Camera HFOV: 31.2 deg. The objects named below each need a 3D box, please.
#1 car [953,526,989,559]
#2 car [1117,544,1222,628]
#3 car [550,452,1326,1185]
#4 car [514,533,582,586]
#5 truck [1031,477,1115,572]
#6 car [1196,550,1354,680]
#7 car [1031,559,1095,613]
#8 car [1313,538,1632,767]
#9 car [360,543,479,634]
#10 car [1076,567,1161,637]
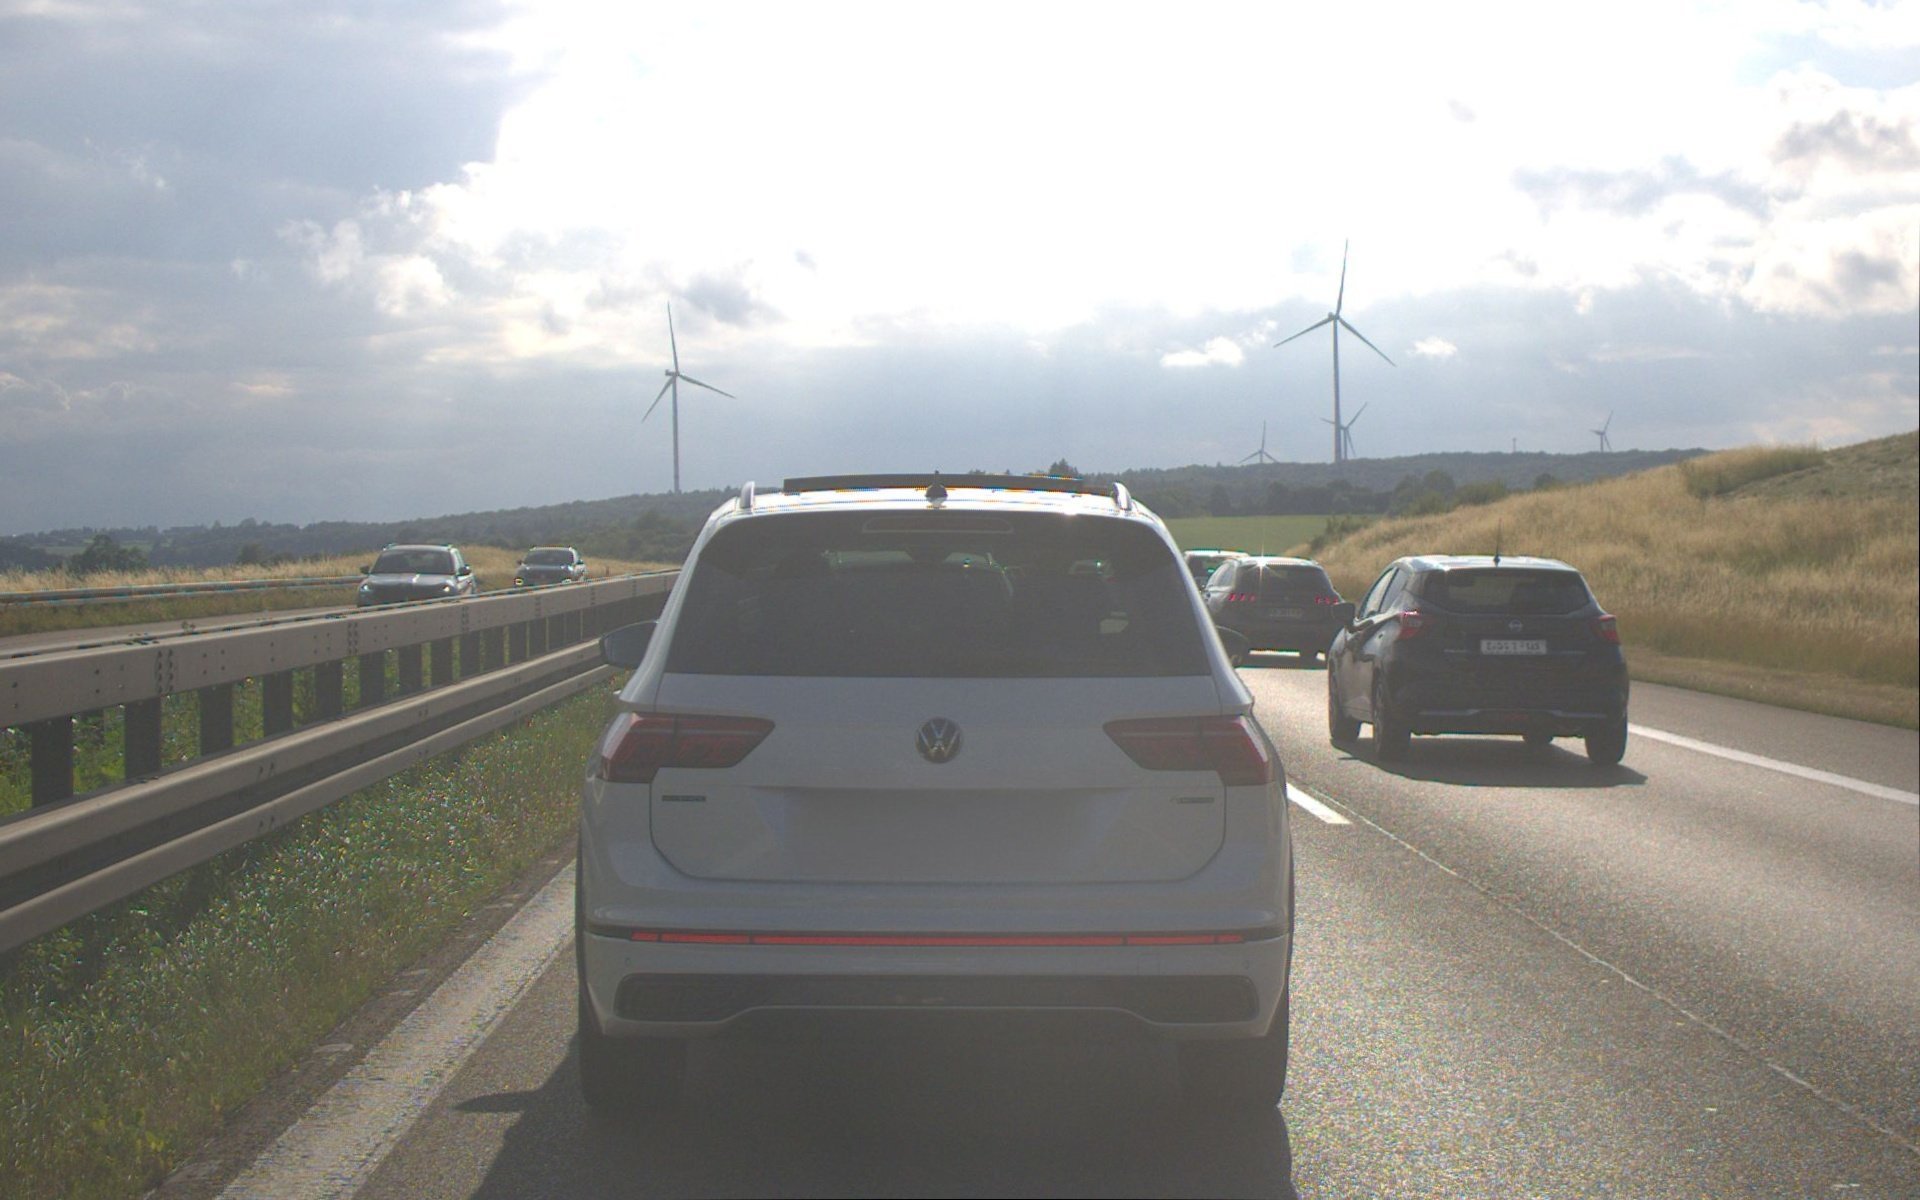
[{"bbox_3d":[0.517,-2.793,166.823,1.704,1.540,4.000,1,1,-1],"label":"car"},{"bbox_3d":[3.998,-0.278,66.018,1.704,1.540,4.000,1,1,-1],"label":"car"},{"bbox_3d":[-0.073,0.485,9.940,1.770,1.670,4.000,1,1,-1],"label":"car"},{"bbox_3d":[-12.184,-1.202,101.888,1.615,1.516,4.000,1,1,-2],"label":"car"},{"bbox_3d":[4.450,-3.019,137.184,3.184,3.581,11.130,1,1,1],"label":"truck"},{"bbox_3d":[4.197,0.172,46.311,1.704,1.644,4.000,1,1,-1],"label":"car"},{"bbox_3d":[3.018,-0.431,101.589,1.704,1.540,4.000,1,1,-1],"label":"car"},{"bbox_3d":[3.710,0.341,25.504,1.704,1.540,4.000,1,1,-1],"label":"car"},{"bbox_3d":[-9.783,-0.230,62.407,1.615,1.580,4.065,1,1,-2],"label":"car"},{"bbox_3d":[3.612,0.024,78.755,1.704,1.540,4.000,1,1,-1],"label":"car"}]
